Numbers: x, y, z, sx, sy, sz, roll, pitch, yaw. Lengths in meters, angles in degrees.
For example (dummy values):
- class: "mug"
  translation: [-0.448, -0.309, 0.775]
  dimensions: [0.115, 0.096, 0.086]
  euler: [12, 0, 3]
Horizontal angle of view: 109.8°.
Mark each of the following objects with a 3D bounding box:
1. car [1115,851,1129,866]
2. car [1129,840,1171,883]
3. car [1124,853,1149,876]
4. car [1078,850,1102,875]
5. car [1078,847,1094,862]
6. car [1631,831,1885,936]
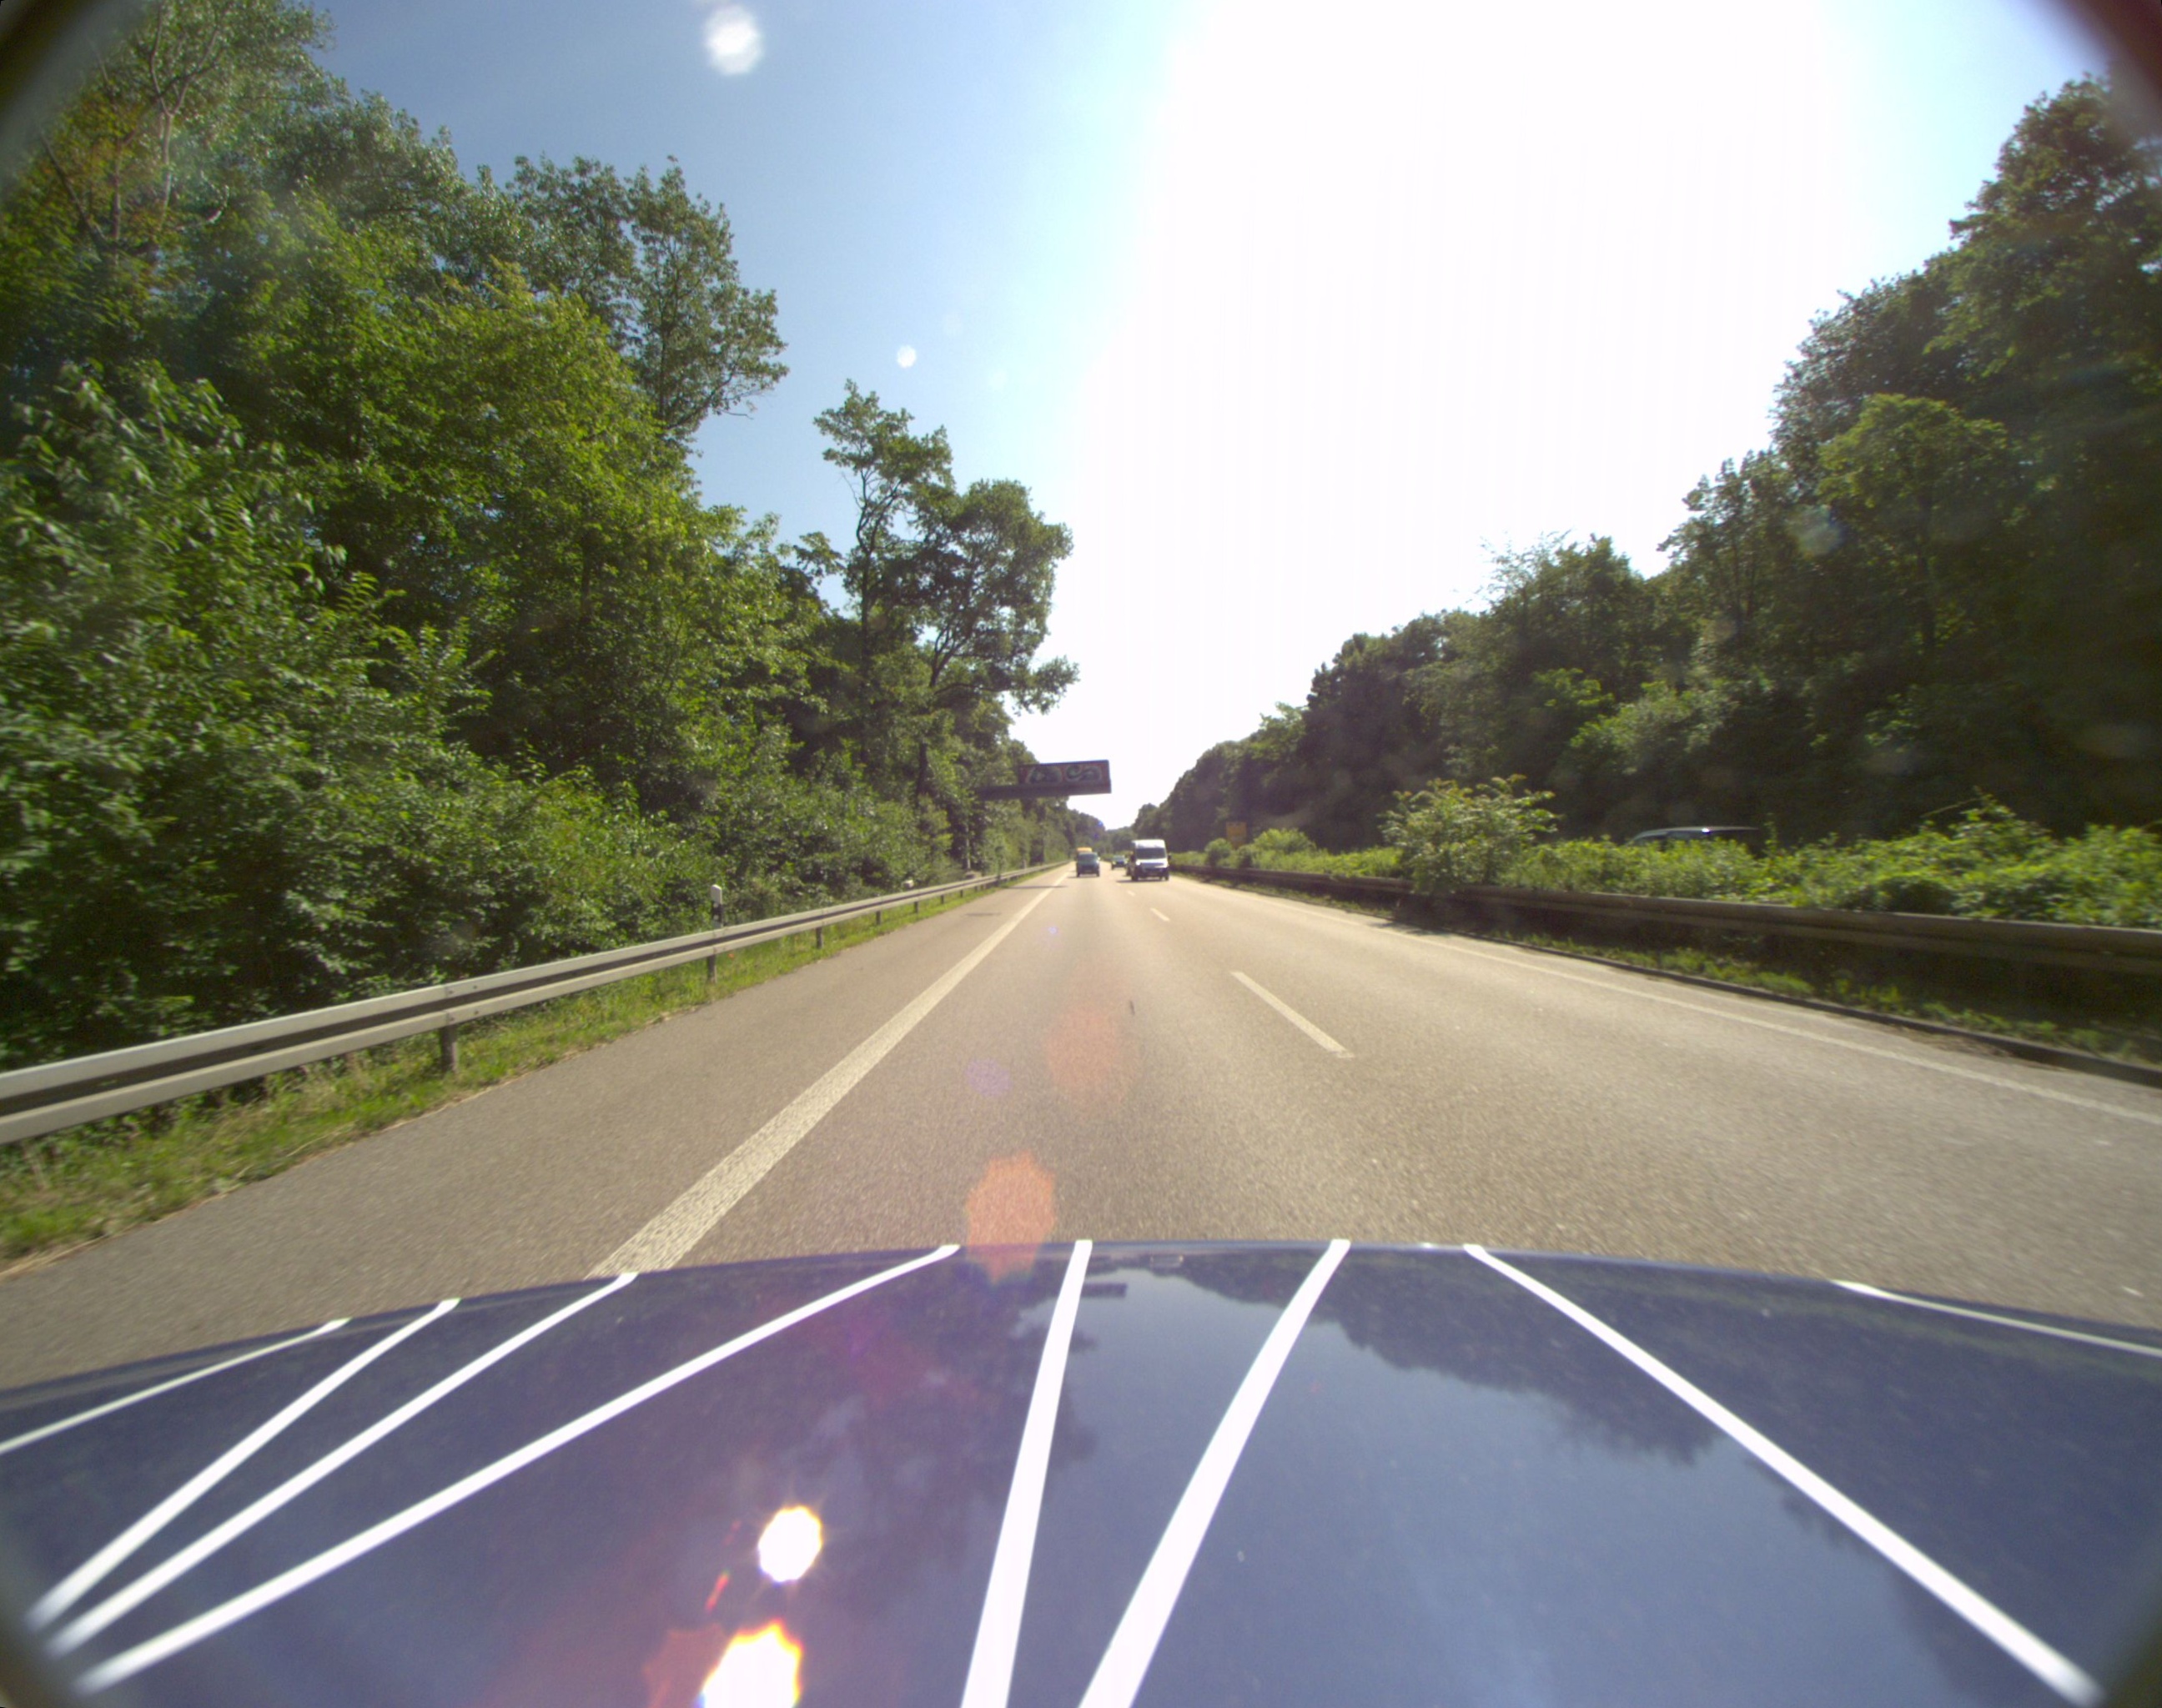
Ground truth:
- class: "car"
  translation: [4.784, 0.531, 88.766]
  dimensions: [1.517, 1.624, 3.611]
  euler: [-2, 0, 1]
- class: "car"
  translation: [4.161, 0.442, 46.447]
  dimensions: [2.046, 2.429, 4.637]
  euler: [-2, 0, 0]
- class: "car"
  translation: [4.306, 0.810, 59.356]
  dimensions: [1.666, 1.624, 3.644]
  euler: [-2, 0, 1]
- class: "car"
  translation: [0.698, 0.638, 60.509]
  dimensions: [1.812, 1.921, 4.581]
  euler: [-2, 0, 0]
- class: "car"
  translation: [0.627, 0.016, 88.630]
  dimensions: [1.737, 1.624, 3.899]
  euler: [-2, 0, 1]
- class: "car"
  translation: [11.969, 0.487, 13.762]
  dimensions: [1.453, 1.652, 3.511]
  euler: [0, 0, 0]
